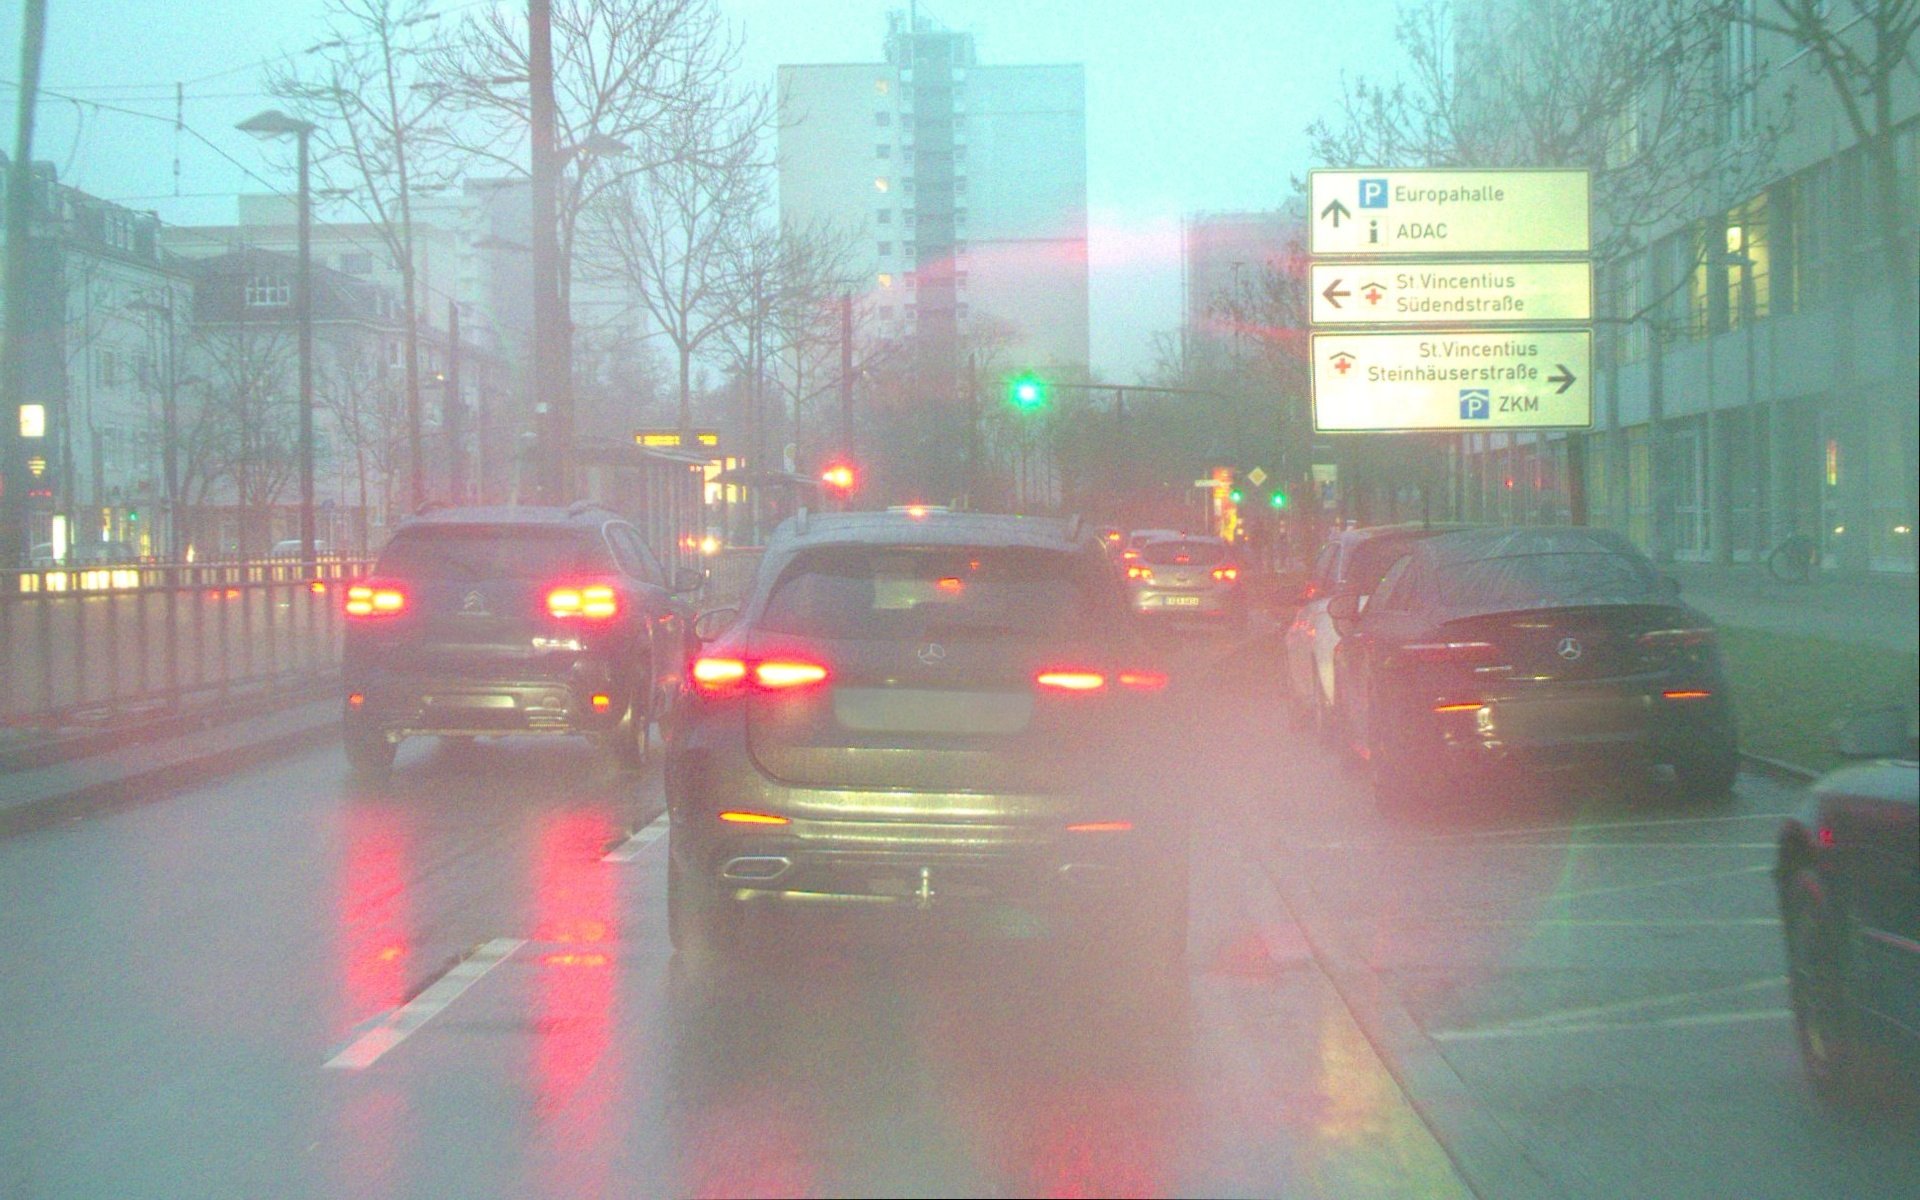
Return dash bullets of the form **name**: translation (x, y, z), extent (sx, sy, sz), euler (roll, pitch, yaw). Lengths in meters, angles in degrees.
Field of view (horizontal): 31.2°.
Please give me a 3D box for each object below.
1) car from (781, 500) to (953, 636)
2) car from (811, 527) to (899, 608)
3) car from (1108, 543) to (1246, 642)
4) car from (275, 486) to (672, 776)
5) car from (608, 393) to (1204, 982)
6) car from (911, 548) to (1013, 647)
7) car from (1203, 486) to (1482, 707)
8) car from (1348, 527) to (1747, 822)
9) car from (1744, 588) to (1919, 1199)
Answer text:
- **car**: translation (-1.148, -0.402, 44.182), extent (1.993, 1.636, 4.022), euler (1, 0, 1)
- **car**: translation (-2.677, -0.856, 88.550), extent (1.952, 2.026, 4.883), euler (0, 1, 2)
- **car**: translation (3.193, -0.139, 51.210), extent (1.887, 1.349, 4.101), euler (1, 2, 1)
- **car**: translation (-3.094, 0.180, 22.758), extent (1.993, 1.706, 4.325), euler (1, 0, 0)
- **car**: translation (-0.229, 0.291, 13.701), extent (1.993, 1.969, 4.068), euler (1, 0, -1)
- **car**: translation (0.052, -0.052, 63.088), extent (1.794, 1.744, 3.625), euler (1, 0, 0)
- **car**: translation (2.631, -0.069, 24.282), extent (1.591, 1.389, 3.487), euler (-2, 2, 1)
- **car**: translation (3.122, 0.320, 19.018), extent (1.754, 1.398, 4.249), euler (1, 2, 4)
- **car**: translation (2.906, 0.705, 7.217), extent (1.596, 1.435, 4.228), euler (1, 0, 1)
